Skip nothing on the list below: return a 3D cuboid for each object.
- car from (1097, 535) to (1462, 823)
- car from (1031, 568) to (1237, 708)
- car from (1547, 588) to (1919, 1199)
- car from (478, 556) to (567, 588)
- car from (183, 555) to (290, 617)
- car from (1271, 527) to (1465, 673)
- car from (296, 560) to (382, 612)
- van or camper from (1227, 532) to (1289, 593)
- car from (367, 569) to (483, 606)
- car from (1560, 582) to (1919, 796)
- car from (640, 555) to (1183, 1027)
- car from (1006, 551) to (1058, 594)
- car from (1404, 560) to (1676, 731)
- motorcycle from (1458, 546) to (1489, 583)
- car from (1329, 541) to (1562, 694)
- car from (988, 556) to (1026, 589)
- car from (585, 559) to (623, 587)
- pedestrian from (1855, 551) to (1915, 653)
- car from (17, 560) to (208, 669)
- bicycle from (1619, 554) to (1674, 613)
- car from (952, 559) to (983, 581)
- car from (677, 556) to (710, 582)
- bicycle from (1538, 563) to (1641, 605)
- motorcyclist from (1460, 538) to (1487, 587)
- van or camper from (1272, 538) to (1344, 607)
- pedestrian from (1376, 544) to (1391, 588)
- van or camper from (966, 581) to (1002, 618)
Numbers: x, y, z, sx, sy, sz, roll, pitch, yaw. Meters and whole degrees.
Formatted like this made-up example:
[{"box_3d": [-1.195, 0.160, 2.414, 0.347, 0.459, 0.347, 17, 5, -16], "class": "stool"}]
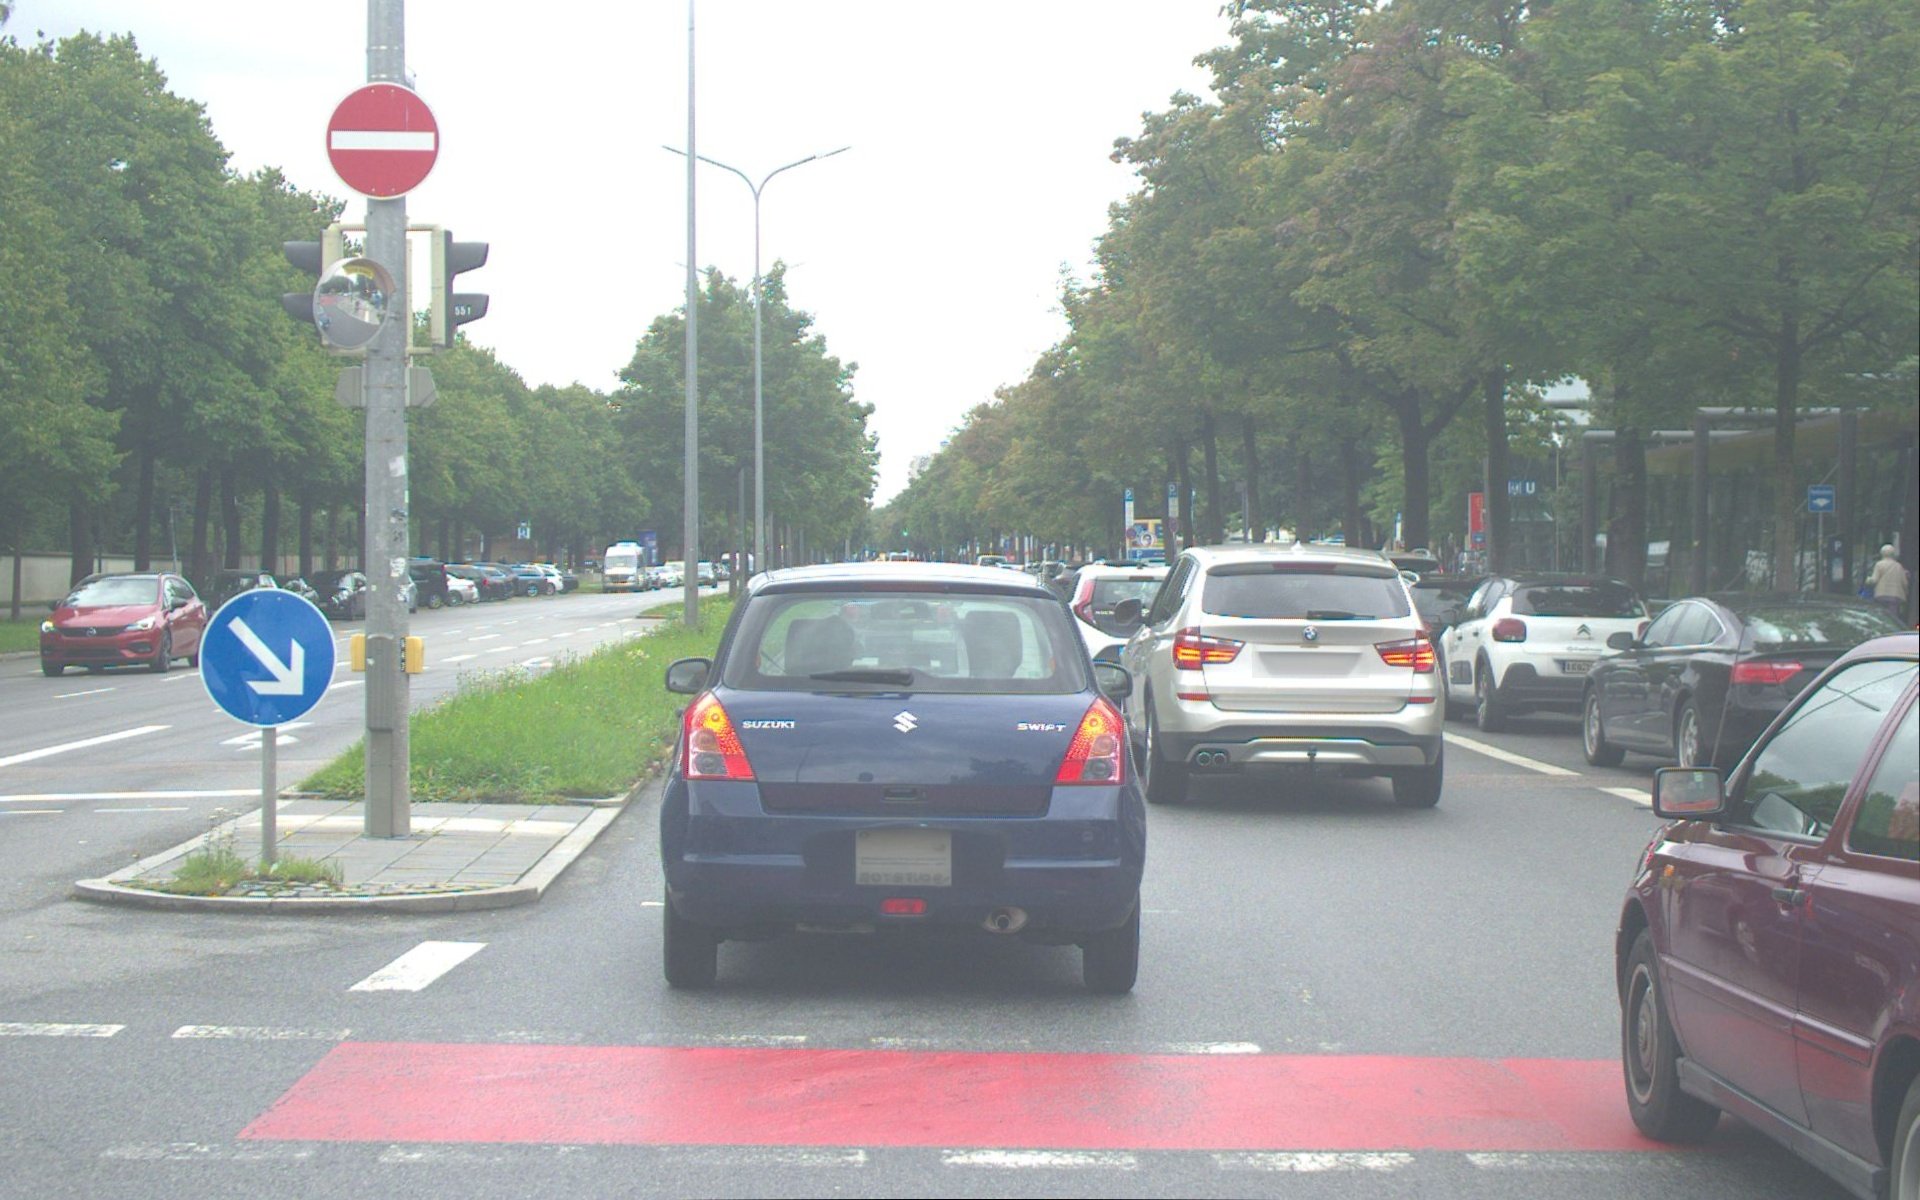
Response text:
[{"box_3d": [2.018, 0.451, 22.854, 1.850, 1.737, 4.098, 0, 1, -3], "class": "car"}, {"box_3d": [1.849, 0.376, 37.700, 1.850, 1.442, 4.098, 0, 1, -3], "class": "car"}, {"box_3d": [2.529, 0.715, 7.724, 1.622, 1.449, 3.950, 0, 1, -2], "class": "car"}, {"box_3d": [-22.447, -1.452, 176.524, 4.095, 1.579, 1.919, -1, 1, -34], "class": "car"}, {"box_3d": [-18.596, -0.383, 88.525, 1.799, 1.485, 4.915, 1, 1, -1], "class": "car"}, {"box_3d": [5.086, -0.043, 43.461, 1.747, 1.718, 4.906, 1, 1, -1], "class": "car"}, {"box_3d": [-18.598, -0.437, 103.099, 1.571, 1.498, 4.303, 1, 1, 3], "class": "car"}, {"box_3d": [12.695, -1.620, 146.823, 2.024, 2.549, 5.957, 0, 1, -1], "class": "van or camper"}, {"box_3d": [-20.509, -0.494, 131.879, 3.987, 1.349, 1.850, -1, 1, -36], "class": "car"}, {"box_3d": [5.737, 0.577, 24.913, 1.710, 1.356, 4.622, 1, 1, -3], "class": "car"}, {"box_3d": [-0.259, 0.601, 13.326, 1.789, 1.550, 4.001, 0, 1, -3], "class": "car"}, {"box_3d": [2.788, -1.067, 133.793, 1.764, 1.646, 4.424, 0, 1, -2], "class": "car"}, {"box_3d": [5.511, 0.383, 33.190, 1.712, 1.542, 4.382, 0, 1, -2], "class": "car"}, {"box_3d": [18.776, -1.288, 125.730, 0.696, 1.286, 2.066, -5, 1, -1], "class": "motorcycle"}, {"box_3d": [5.308, 0.142, 38.121, 1.747, 1.542, 4.643, -1, 1, -2], "class": "car"}, {"box_3d": [2.216, -1.318, 162.772, 1.684, 1.520, 4.456, 1, 1, 0], "class": "car"}, {"box_3d": [-20.084, -1.535, 194.223, 1.913, 1.537, 4.188, 0, 1, -3], "class": "car"}, {"box_3d": [13.852, 0.021, 51.491, 0.578, 1.508, 0.694, 0, 1, -20], "class": "pedestrian"}, {"box_3d": [-12.460, 0.178, 50.811, 1.743, 1.447, 4.658, -2, 1, -1], "class": "car"}, {"box_3d": [15.080, -0.374, 75.582, 0.645, 1.276, 2.551, 0, 1, -1], "class": "bicycle"}, {"box_3d": [0.478, -1.977, 228.555, 1.850, 1.442, 4.098, 0, 1, -3], "class": "car"}, {"box_3d": [-16.394, -1.922, 211.782, 1.913, 1.537, 4.188, 0, 1, -3], "class": "car"}, {"box_3d": [16.382, -0.429, 89.499, 2.542, 1.085, 0.647, 0, 1, -1], "class": "bicycle"}, {"box_3d": [18.763, -1.386, 125.688, 0.691, 1.731, 0.953, -4, 1, -1], "class": "motorcyclist"}, {"box_3d": [13.128, -1.063, 129.951, 1.993, 2.549, 5.957, 0, 1, -1], "class": "van or camper"}, {"box_3d": [16.895, -1.344, 137.155, 0.575, 1.745, 0.732, 0, 1, 3], "class": "pedestrian"}, {"box_3d": [1.310, -0.052, 190.254, 1.944, 1.968, 4.306, 0, 1, 0], "class": "van or camper"}]
